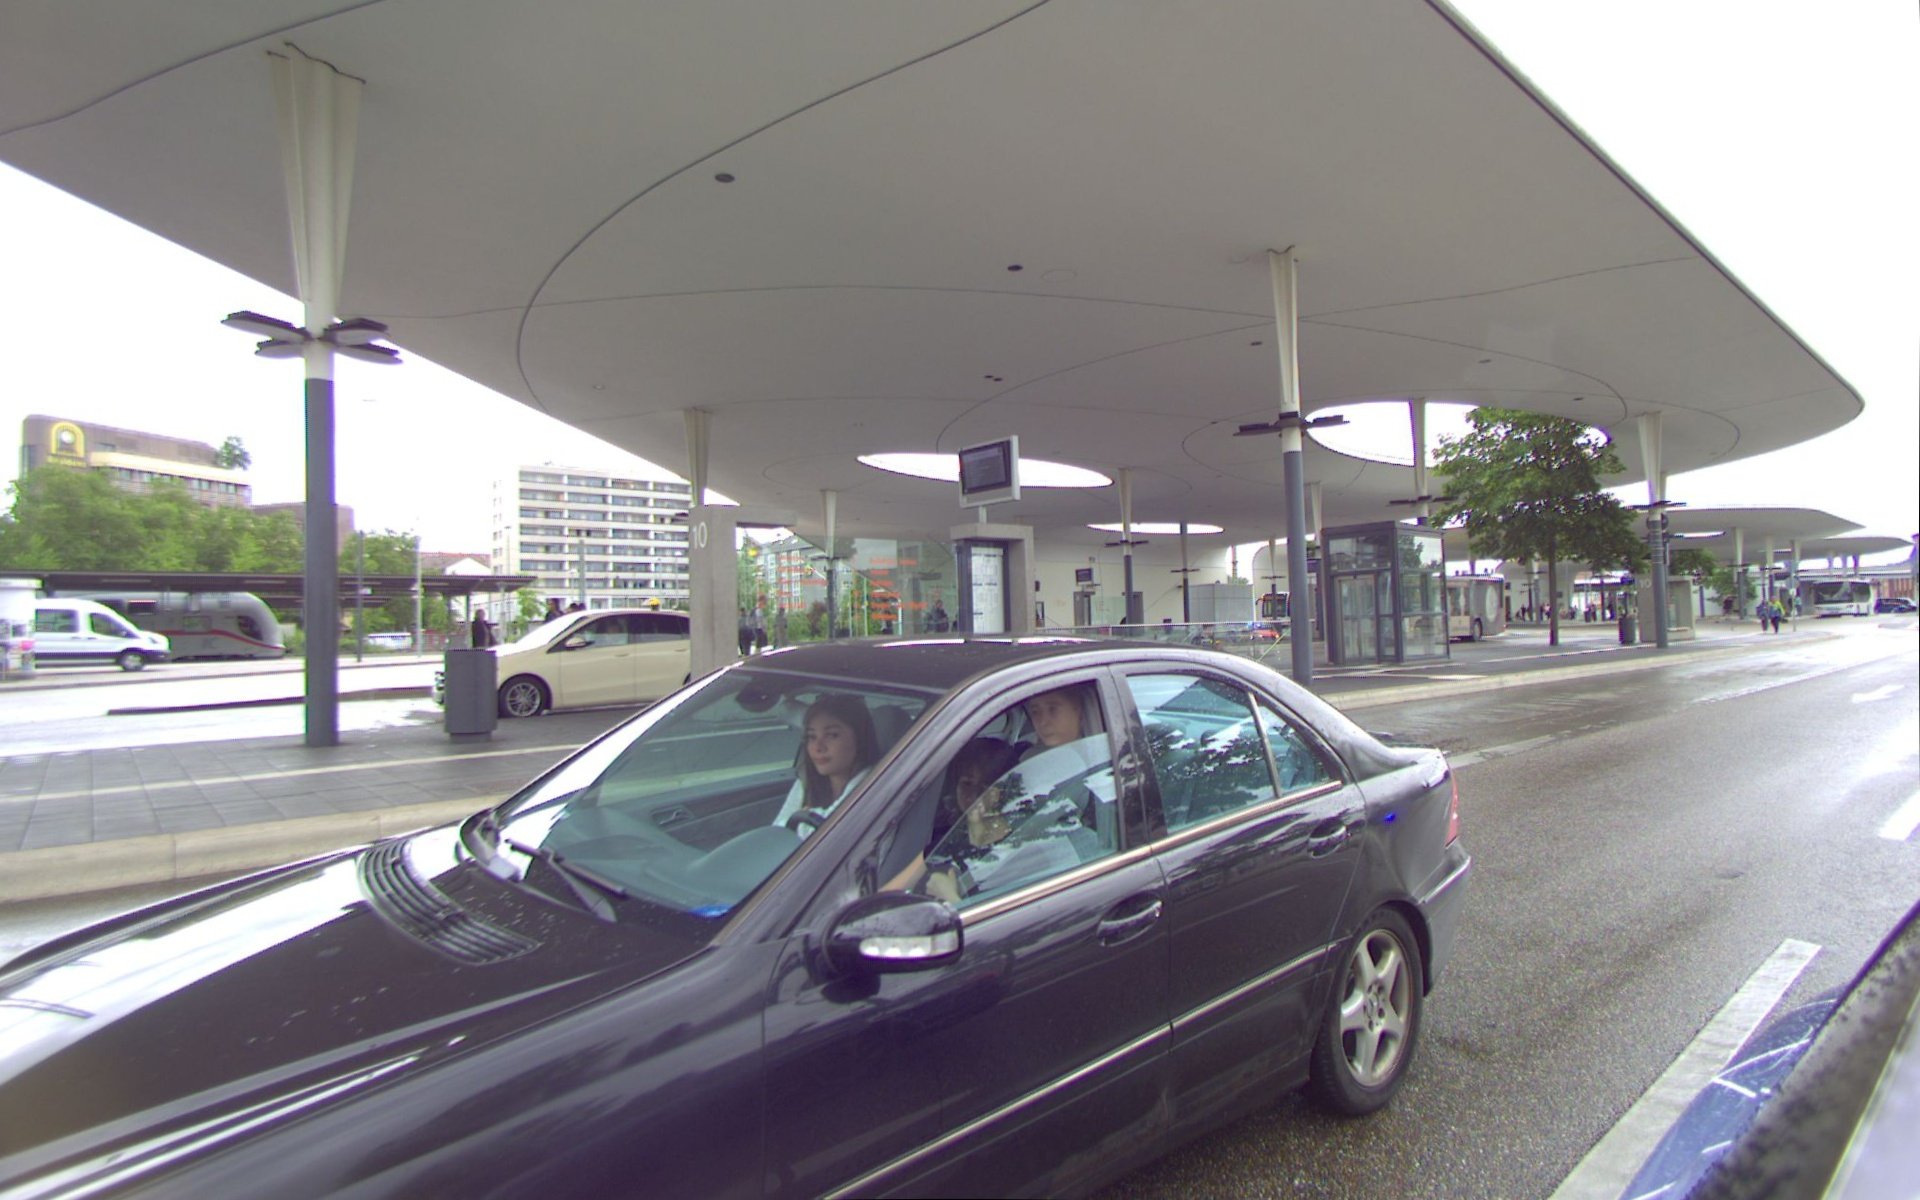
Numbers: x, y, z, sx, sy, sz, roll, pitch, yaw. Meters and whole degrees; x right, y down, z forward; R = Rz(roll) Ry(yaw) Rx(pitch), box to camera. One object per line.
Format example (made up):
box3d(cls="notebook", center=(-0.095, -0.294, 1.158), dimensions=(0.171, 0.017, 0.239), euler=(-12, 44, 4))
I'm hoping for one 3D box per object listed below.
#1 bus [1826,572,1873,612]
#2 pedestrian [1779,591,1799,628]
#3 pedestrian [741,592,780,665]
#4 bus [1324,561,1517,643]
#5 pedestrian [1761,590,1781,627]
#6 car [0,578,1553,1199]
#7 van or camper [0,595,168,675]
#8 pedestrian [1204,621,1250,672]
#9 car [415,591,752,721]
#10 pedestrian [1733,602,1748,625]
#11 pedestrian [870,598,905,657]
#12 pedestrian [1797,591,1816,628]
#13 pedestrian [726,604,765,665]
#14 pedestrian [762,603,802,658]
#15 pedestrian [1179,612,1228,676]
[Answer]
box3d(cls="bus", center=(75.371, -0.664, 85.704), dimensions=(2.666, 3.169, 9.565), euler=(-1, -1, 43))
box3d(cls="pedestrian", center=(37.155, 0.412, 45.362), dimensions=(0.543, 1.645, 0.556), euler=(0, -1, -41))
box3d(cls="pedestrian", center=(-4.793, 0.673, 24.321), dimensions=(0.680, 1.728, 0.658), euler=(0, -1, -40))
box3d(cls="bus", center=(20.160, 0.062, 43.701), dimensions=(12.142, 3.146, 2.999), euler=(0, -1, -42))
box3d(cls="pedestrian", center=(36.728, 0.395, 45.814), dimensions=(0.577, 1.645, 0.576), euler=(0, -1, -41))
box3d(cls="car", center=(-0.115, 0.815, 2.883), dimensions=(4.360, 1.499, 1.747), euler=(-2, -4, -42))
box3d(cls="van or camper", center=(-29.780, 1.104, 33.223), dimensions=(5.868, 2.495, 2.106), euler=(0, -1, -41))
box3d(cls="pedestrian", center=(5.265, 0.906, 19.978), dimensions=(0.626, 0.974, 0.622), euler=(0, -1, -41))
box3d(cls="car", center=(-5.514, 0.750, 15.131), dimensions=(4.356, 1.671, 1.803), euler=(0, -3, -41))
box3d(cls="pedestrian", center=(57.114, 0.980, 74.063), dimensions=(0.740, 1.651, 0.723), euler=(0, -1, -41))
box3d(cls="pedestrian", center=(-1.939, 0.723, 27.063), dimensions=(0.680, 1.564, 0.658), euler=(0, -1, -40))
box3d(cls="pedestrian", center=(37.595, 0.410, 44.947), dimensions=(0.543, 1.645, 0.556), euler=(0, -1, -41))
box3d(cls="pedestrian", center=(-6.030, 0.958, 28.396), dimensions=(0.646, 1.654, 0.854), euler=(-1, -1, 43))
box3d(cls="pedestrian", center=(-4.981, 0.849, 28.320), dimensions=(0.732, 1.497, 0.825), euler=(-1, -1, 43))
box3d(cls="pedestrian", center=(4.936, 0.881, 20.532), dimensions=(0.657, 1.268, 0.692), euler=(0, -1, -41))
